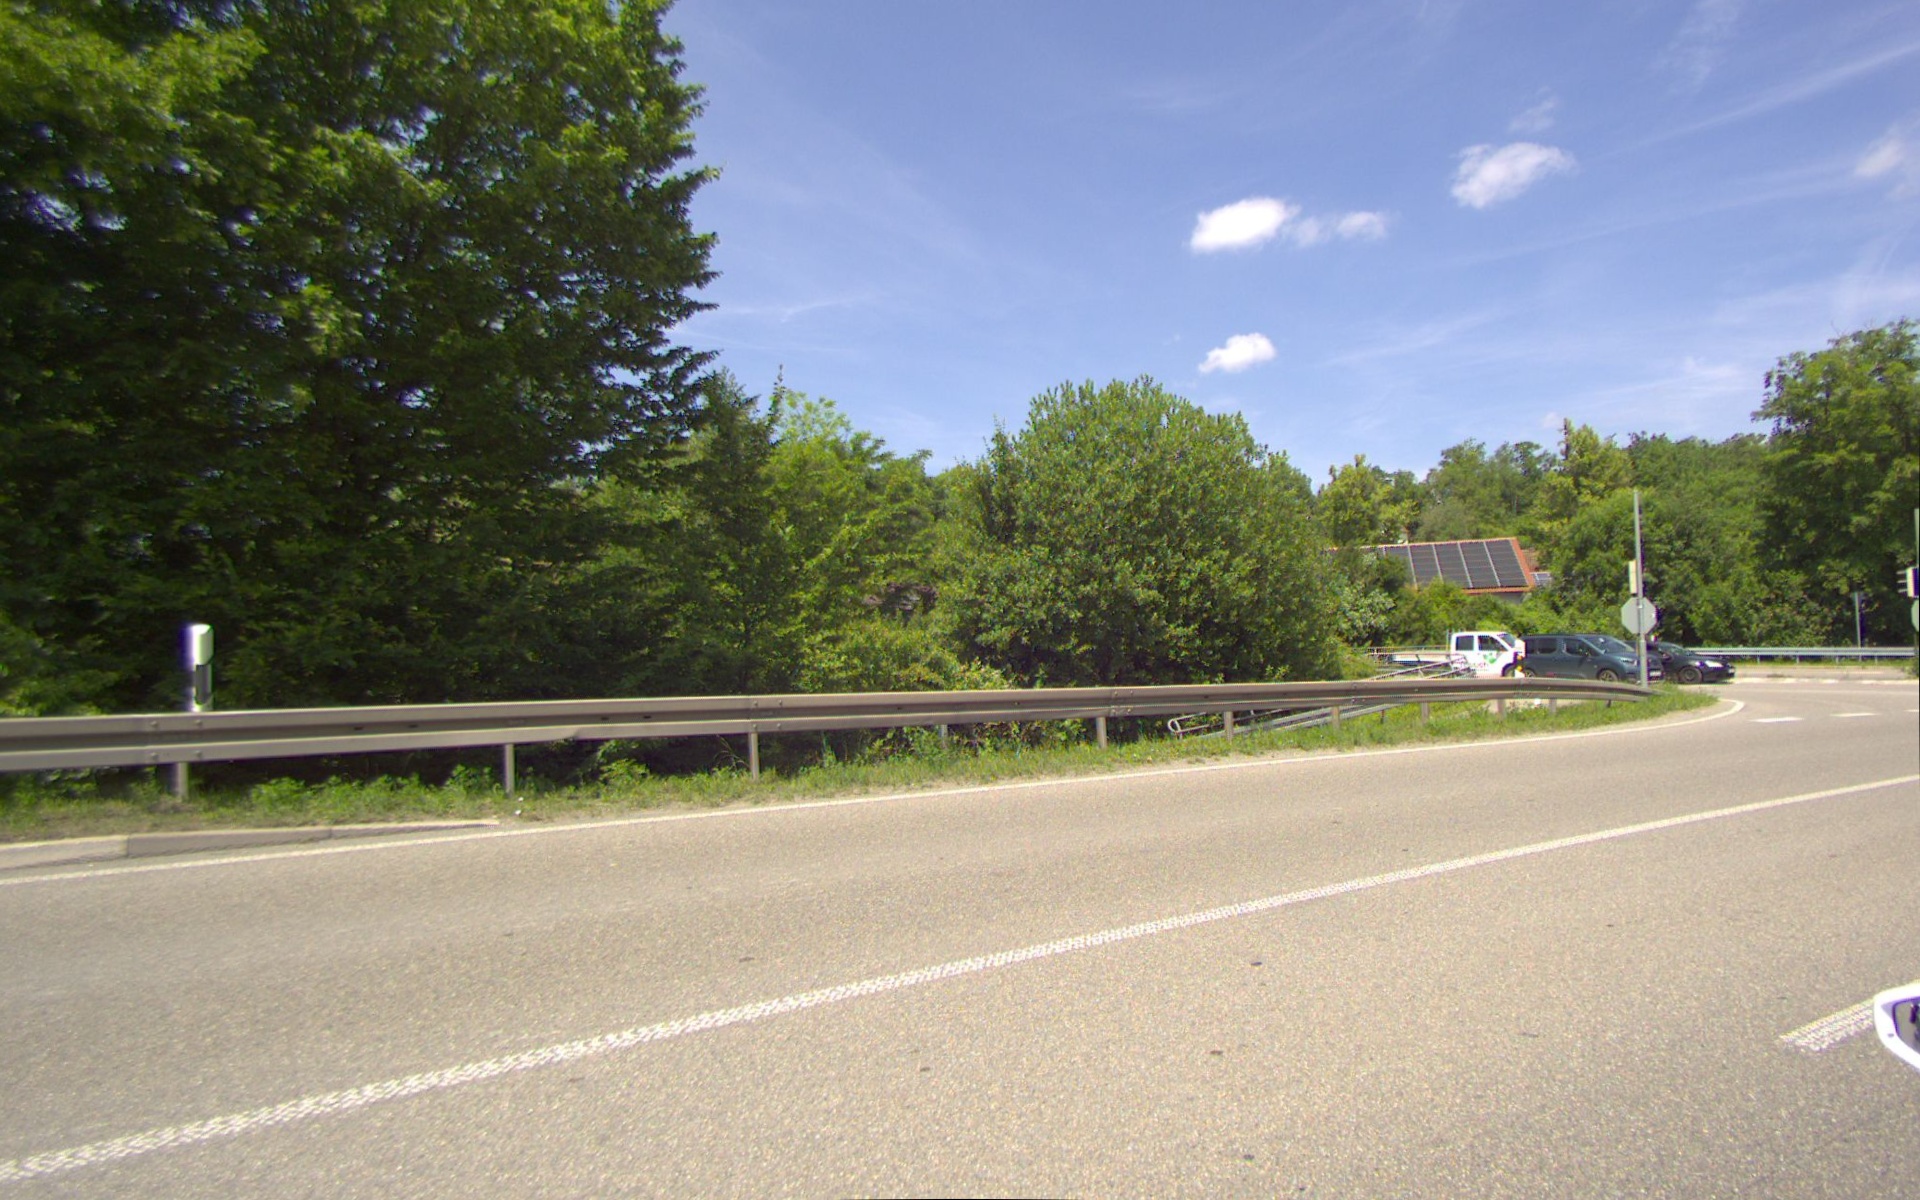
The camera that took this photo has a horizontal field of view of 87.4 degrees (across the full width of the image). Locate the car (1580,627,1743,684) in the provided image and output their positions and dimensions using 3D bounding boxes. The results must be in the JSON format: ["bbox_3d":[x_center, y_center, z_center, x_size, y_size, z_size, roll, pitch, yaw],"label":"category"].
[{"bbox_3d":[23.777,1.850,34.239,1.970,1.793,4.229,2,-2,-20],"label":"car"}]

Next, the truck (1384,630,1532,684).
[{"bbox_3d":[19.593,2.209,39.670,2.028,1.815,4.832,4,-2,-41],"label":"truck"}]

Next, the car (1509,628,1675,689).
[{"bbox_3d":[20.180,1.827,32.305,1.970,1.793,4.229,2,-2,-20],"label":"car"}]
